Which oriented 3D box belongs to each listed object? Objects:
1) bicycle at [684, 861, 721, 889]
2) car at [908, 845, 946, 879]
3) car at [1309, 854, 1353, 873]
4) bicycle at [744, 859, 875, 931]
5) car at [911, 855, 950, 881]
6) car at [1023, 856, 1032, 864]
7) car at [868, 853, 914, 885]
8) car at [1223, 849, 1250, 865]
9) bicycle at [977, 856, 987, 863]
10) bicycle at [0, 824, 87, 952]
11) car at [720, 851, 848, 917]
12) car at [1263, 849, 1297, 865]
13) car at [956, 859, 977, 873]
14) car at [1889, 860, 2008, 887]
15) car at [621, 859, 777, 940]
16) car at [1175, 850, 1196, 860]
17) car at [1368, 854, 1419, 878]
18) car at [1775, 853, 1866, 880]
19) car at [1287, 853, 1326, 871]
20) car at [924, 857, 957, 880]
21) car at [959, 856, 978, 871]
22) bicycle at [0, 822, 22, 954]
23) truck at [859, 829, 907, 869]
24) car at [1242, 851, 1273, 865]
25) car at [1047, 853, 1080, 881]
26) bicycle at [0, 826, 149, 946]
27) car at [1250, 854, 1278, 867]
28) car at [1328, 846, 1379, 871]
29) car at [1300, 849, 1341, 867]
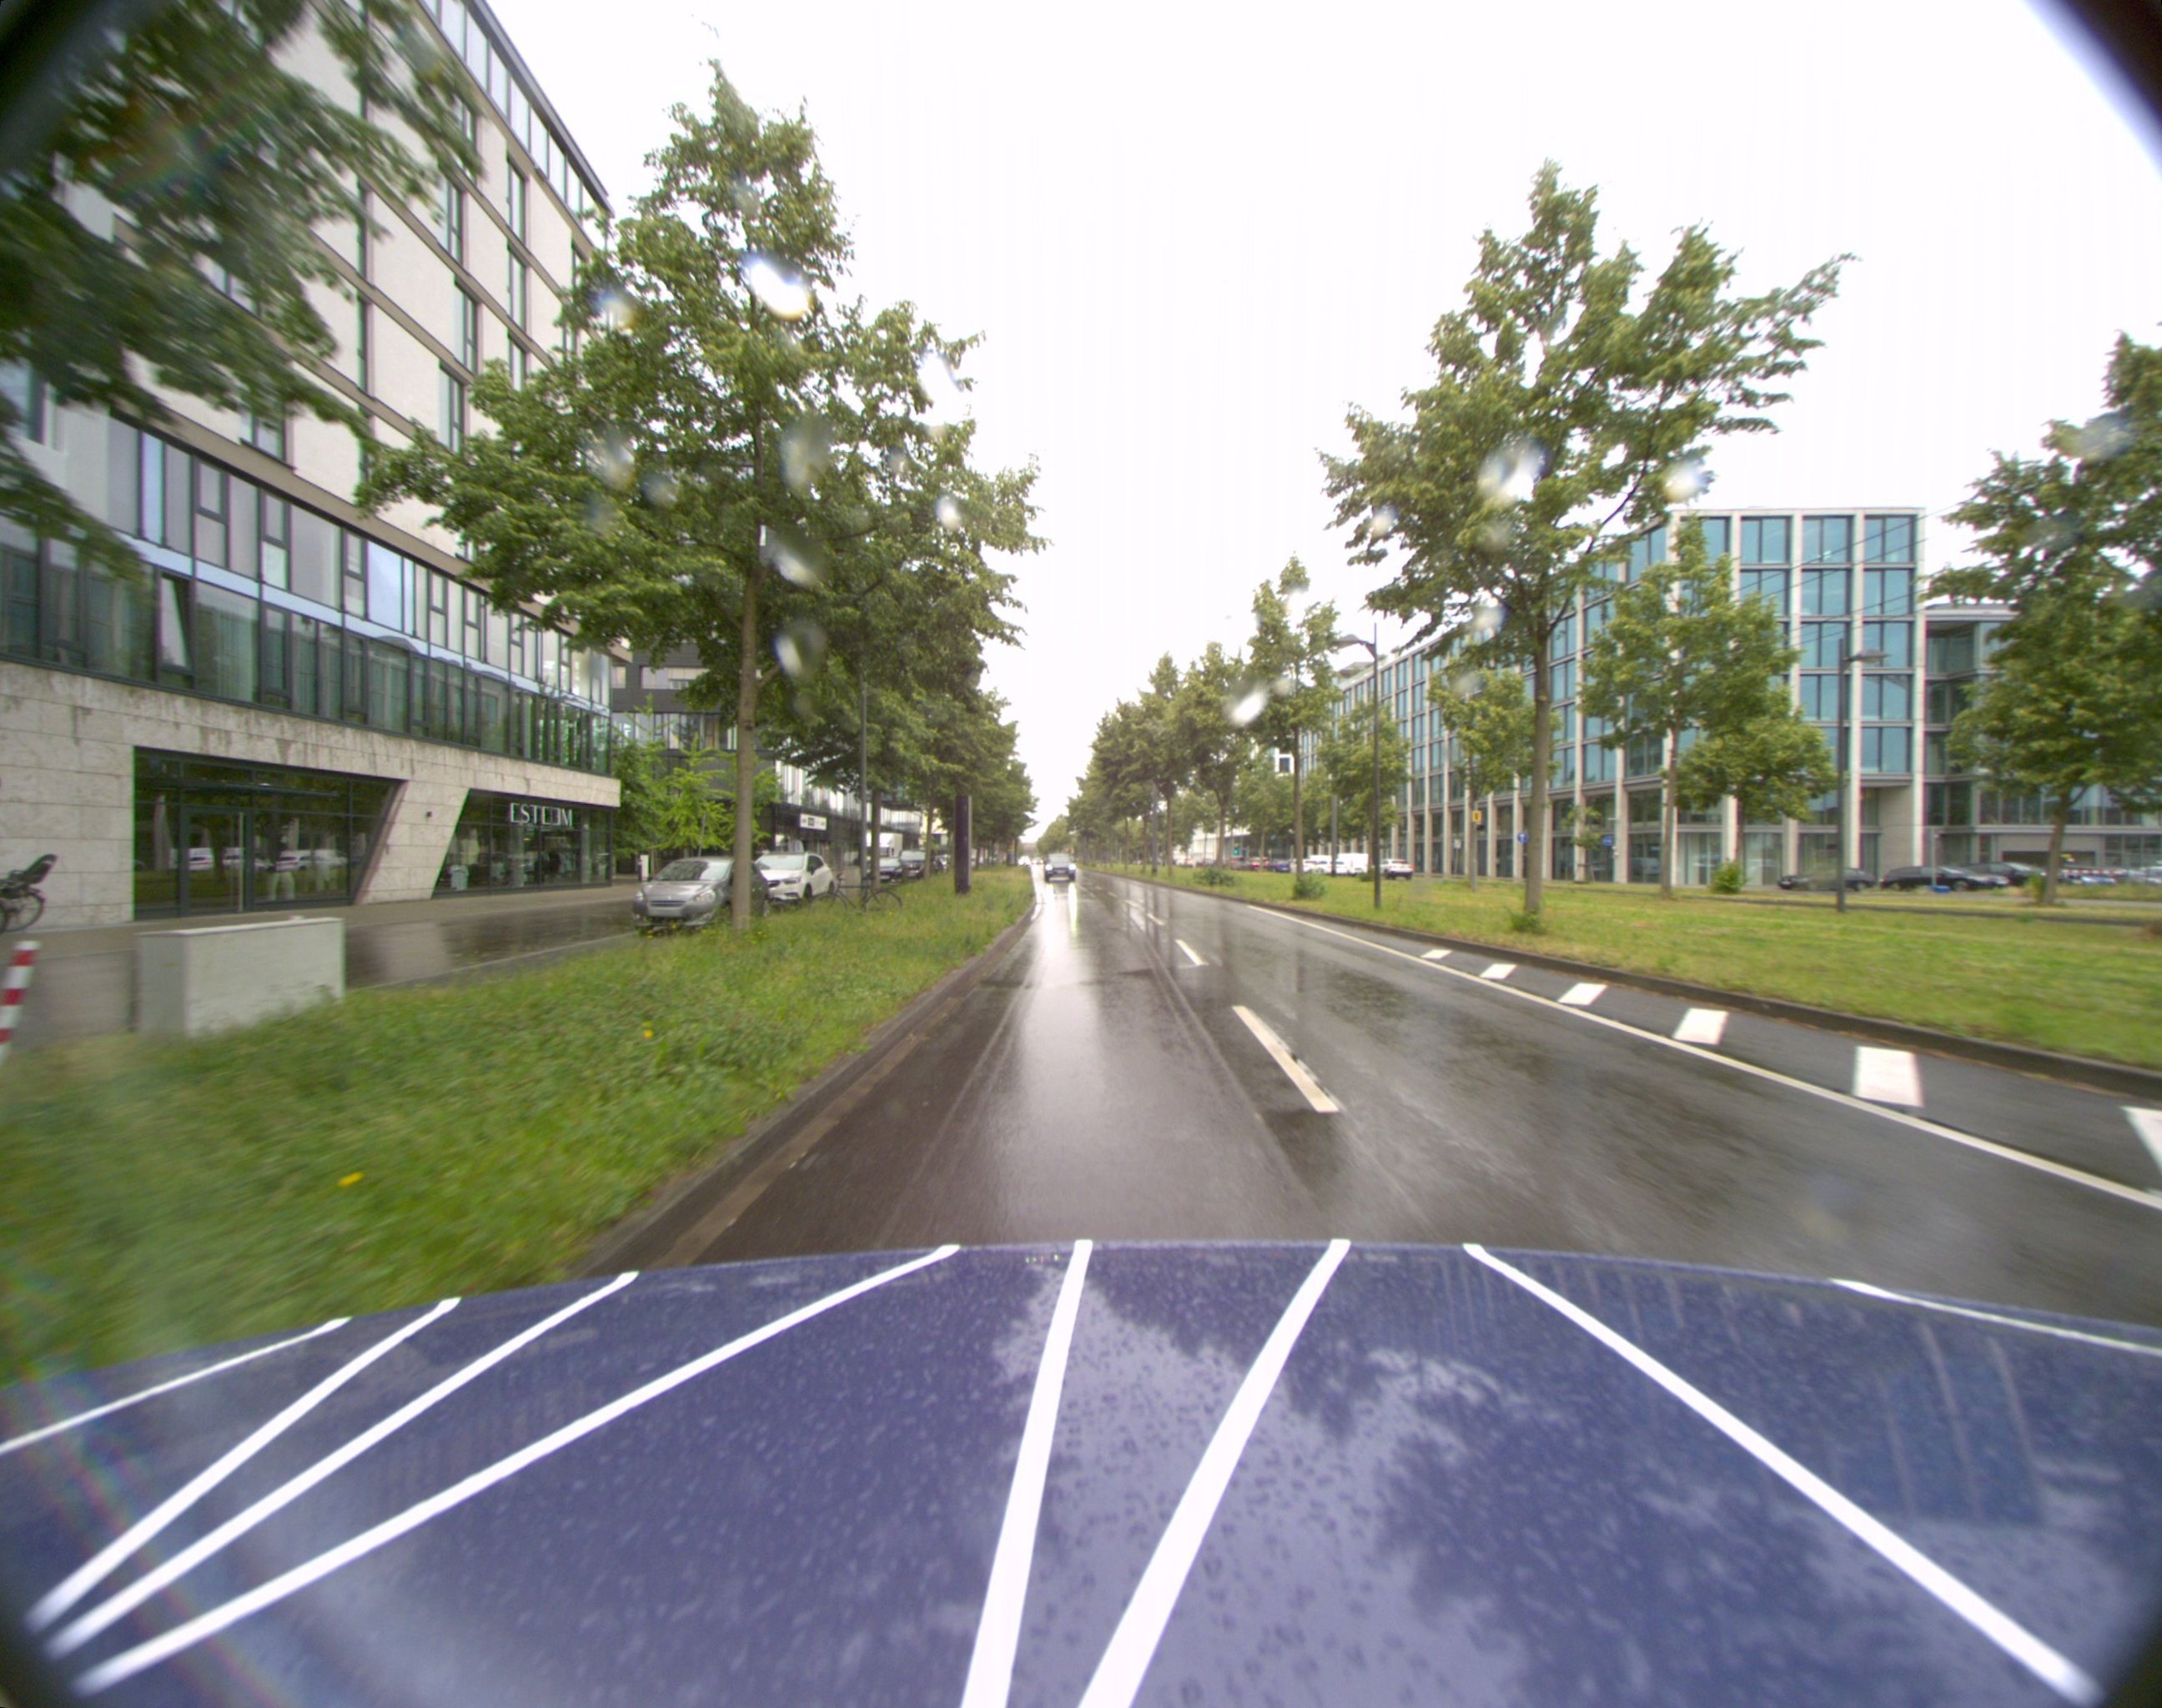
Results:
[{"bbox_3d":[-15.646,0.847,31.458,0.519,1.124,2.064,0,0,-1],"label":"bicycle"},{"bbox_3d":[-9.113,0.534,45.203,2.000,1.940,5.026,0,-2,-9],"label":"car"},{"bbox_3d":[20.580,0.799,62.755,1.956,1.452,4.832,0,-2,0],"label":"car"},{"bbox_3d":[-4.619,0.687,12.986,2.041,1.189,0.491,0,1,-4],"label":"bicycle"},{"bbox_3d":[-10.319,0.950,52.441,1.999,1.659,4.957,-2,-1,-4],"label":"car"},{"bbox_3d":[-10.934,1.194,155.592,1.687,1.520,3.968,0,-2,-5],"label":"car"},{"bbox_3d":[-9.611,0.709,38.699,1.963,1.504,4.478,0,0,-10],"label":"car"},{"bbox_3d":[18.704,0.363,91.549,1.956,1.837,4.542,0,-1,-4],"label":"car"},{"bbox_3d":[-14.163,0.809,108.880,1.458,0.911,0.434,-1,-2,28],"label":"bicycle"},{"bbox_3d":[-16.560,0.485,11.295,2.686,1.850,0.707,0,0,1],"label":"bicycle"},{"bbox_3d":[-8.186,0.831,21.461,1.999,1.659,4.724,0,-2,-4],"label":"car"},{"bbox_3d":[19.796,0.350,75.794,1.957,1.485,3.961,0,-2,-6],"label":"car"},{"bbox_3d":[-11.972,1.233,79.767,2.000,1.436,5.233,0,0,-7],"label":"car"},{"bbox_3d":[41.444,0.972,36.431,1.504,1.232,3.660,0,-2,-1],"label":"car"},{"bbox_3d":[-7.766,0.873,15.835,1.630,1.482,3.654,0,-1,-5],"label":"car"},{"bbox_3d":[14.574,0.118,106.257,1.956,1.444,4.574,0,0,-4],"label":"car"},{"bbox_3d":[23.690,0.850,57.773,1.956,1.739,4.575,0,0,-1],"label":"car"},{"bbox_3d":[44.973,0.785,46.279,3.798,1.599,1.745,0,-2,0],"label":"car"},{"bbox_3d":[20.429,0.693,69.024,1.956,1.504,4.574,0,0,-4],"label":"car"},{"bbox_3d":[-10.905,1.072,59.130,1.999,1.659,4.722,-2,0,-4],"label":"car"},{"bbox_3d":[-12.713,1.128,85.725,1.766,1.586,4.100,0,-2,-4],"label":"car"},{"bbox_3d":[-16.470,0.468,10.512,2.686,1.850,0.707,0,0,1],"label":"bicycle"},{"bbox_3d":[-17.635,-0.420,68.267,3.034,3.421,8.542,0,0,-6],"label":"truck"},{"bbox_3d":[19.261,0.413,83.226,1.956,1.377,4.604,0,-2,-5],"label":"car"},{"bbox_3d":[-1.166,0.806,48.451,1.929,1.650,4.714,1,0,-3],"label":"car"},{"bbox_3d":[-16.547,0.490,12.061,2.686,1.850,0.707,0,0,1],"label":"bicycle"},{"bbox_3d":[22.196,0.800,92.148,1.957,1.377,4.271,0,-2,-6],"label":"car"},{"bbox_3d":[23.527,0.471,65.822,2.274,1.994,5.373,0,-2,-3],"label":"car"},{"bbox_3d":[23.203,0.420,73.758,1.957,1.641,5.029,0,-2,-6],"label":"car"}]
